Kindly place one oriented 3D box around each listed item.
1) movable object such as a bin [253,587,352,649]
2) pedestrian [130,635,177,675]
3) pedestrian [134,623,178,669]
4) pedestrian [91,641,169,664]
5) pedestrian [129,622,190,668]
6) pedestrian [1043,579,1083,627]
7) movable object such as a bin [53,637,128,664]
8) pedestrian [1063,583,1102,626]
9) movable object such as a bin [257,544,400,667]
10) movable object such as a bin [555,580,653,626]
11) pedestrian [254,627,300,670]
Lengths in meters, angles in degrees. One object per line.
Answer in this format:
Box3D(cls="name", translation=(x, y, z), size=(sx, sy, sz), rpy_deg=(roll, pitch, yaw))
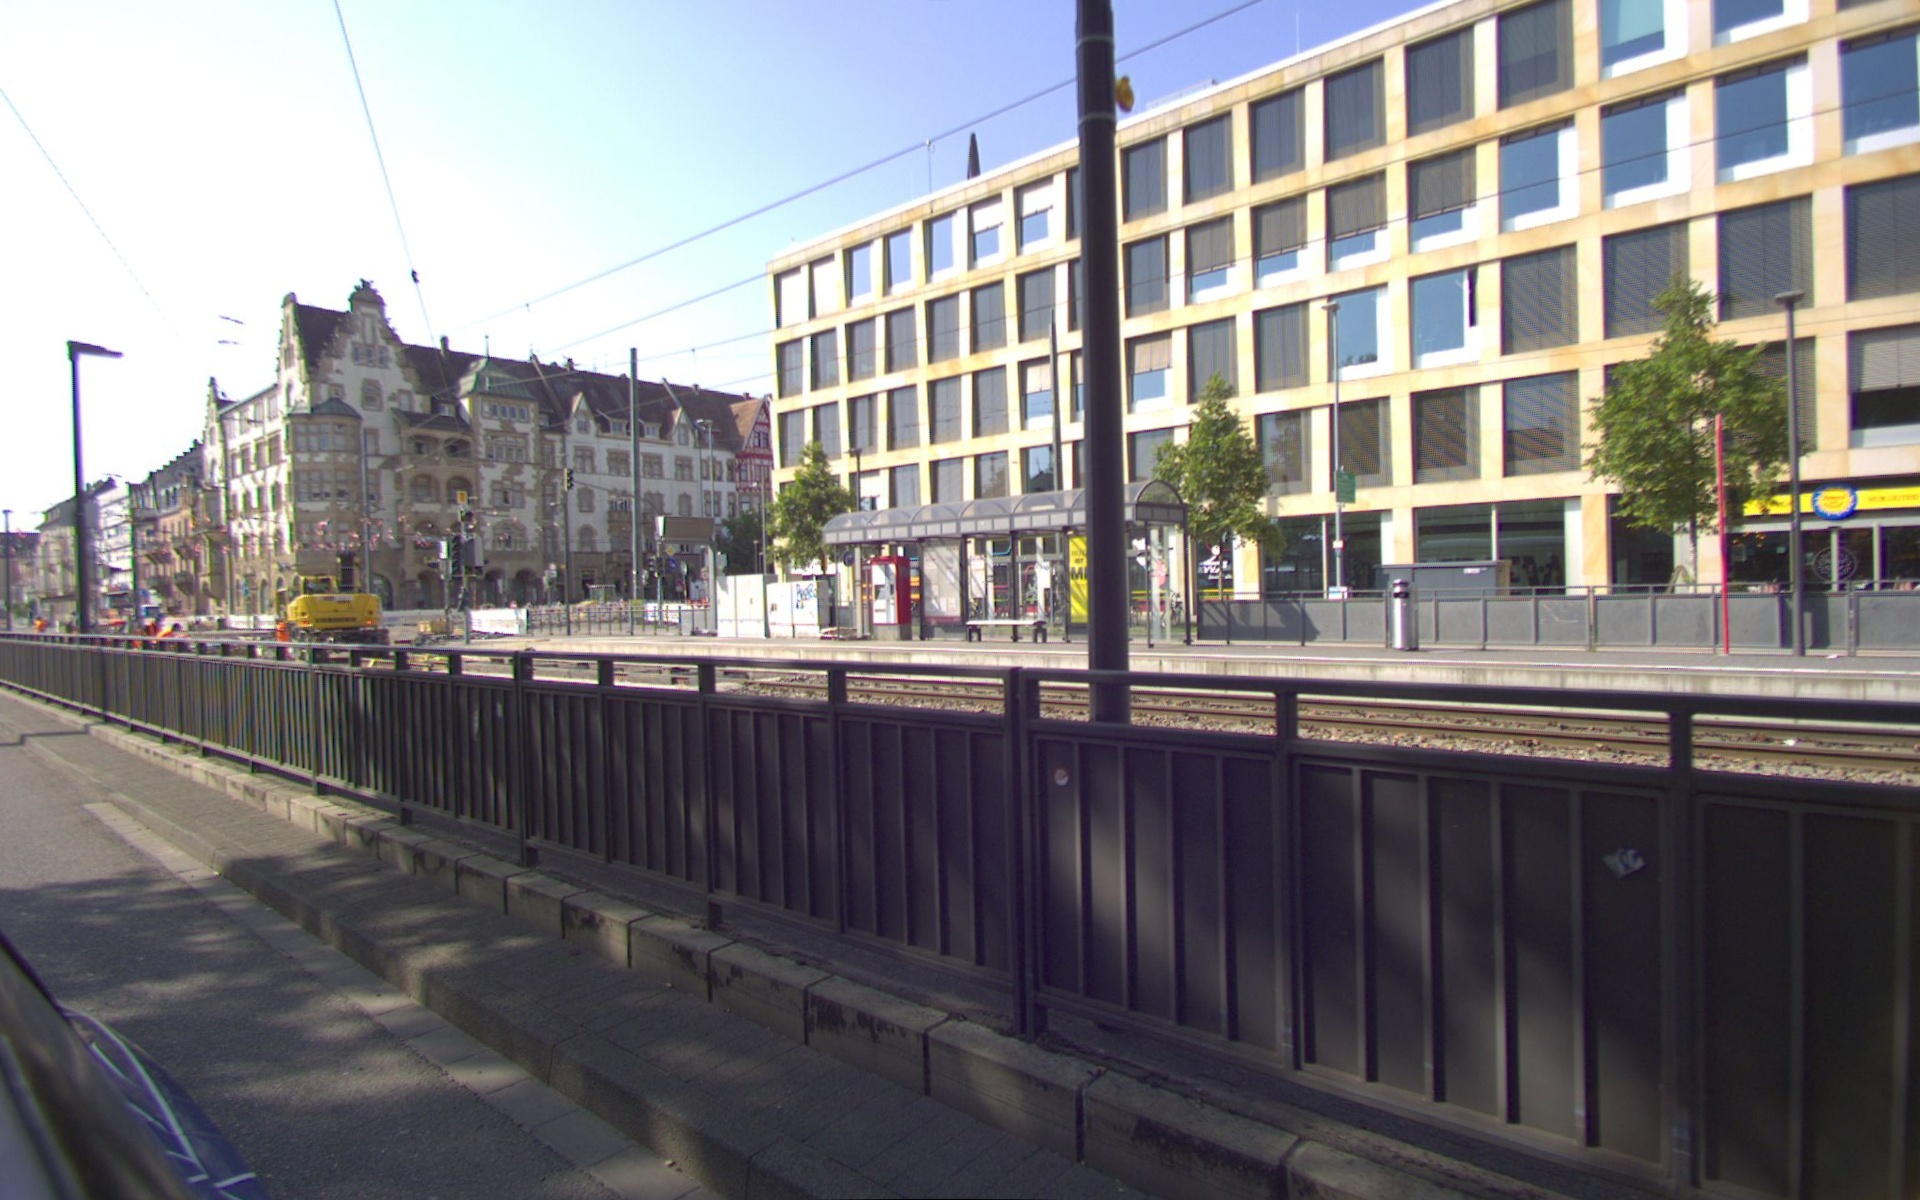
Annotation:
Box3D(cls="movable object such as a bin", translation=(-37.943, 1.037, 58.285), size=(8.345, 3.355, 2.815), rpy_deg=(-1, 0, 43))
Box3D(cls="pedestrian", translation=(-25.455, 1.717, 31.965), size=(0.968, 1.199, 0.801), rpy_deg=(-2, 0, -25))
Box3D(cls="pedestrian", translation=(-23.980, 1.360, 30.195), size=(0.825, 1.316, 0.801), rpy_deg=(-2, 0, -25))
Box3D(cls="pedestrian", translation=(-27.214, 1.718, 33.184), size=(0.913, 0.641, 1.880), rpy_deg=(-2, 0, 44))
Box3D(cls="pedestrian", translation=(-24.487, 1.363, 30.973), size=(1.293, 1.316, 0.801), rpy_deg=(-2, 0, -25))
Box3D(cls="pedestrian", translation=(3.878, 0.099, 38.013), size=(1.123, 1.765, 0.966), rpy_deg=(-2, 0, 41))
Box3D(cls="movable object such as a bin", translation=(-24.490, 1.407, 28.536), size=(1.484, 0.657, 0.703), rpy_deg=(-2, 0, -28))
Box3D(cls="pedestrian", translation=(4.688, 0.157, 38.728), size=(1.123, 1.609, 0.966), rpy_deg=(-2, 0, 41))
Box3D(cls="movable object such as a bin", translation=(-23.496, 0.230, 38.203), size=(3.454, 4.043, 9.070), rpy_deg=(-2, 0, -25))
Box3D(cls="movable object such as a bin", translation=(-22.767, 0.152, 64.962), size=(2.134, 2.760, 5.556), rpy_deg=(-1, 0, 40))
Box3D(cls="pedestrian", translation=(-21.668, 1.529, 32.112), size=(0.983, 1.316, 1.003), rpy_deg=(-2, -1, 44))
